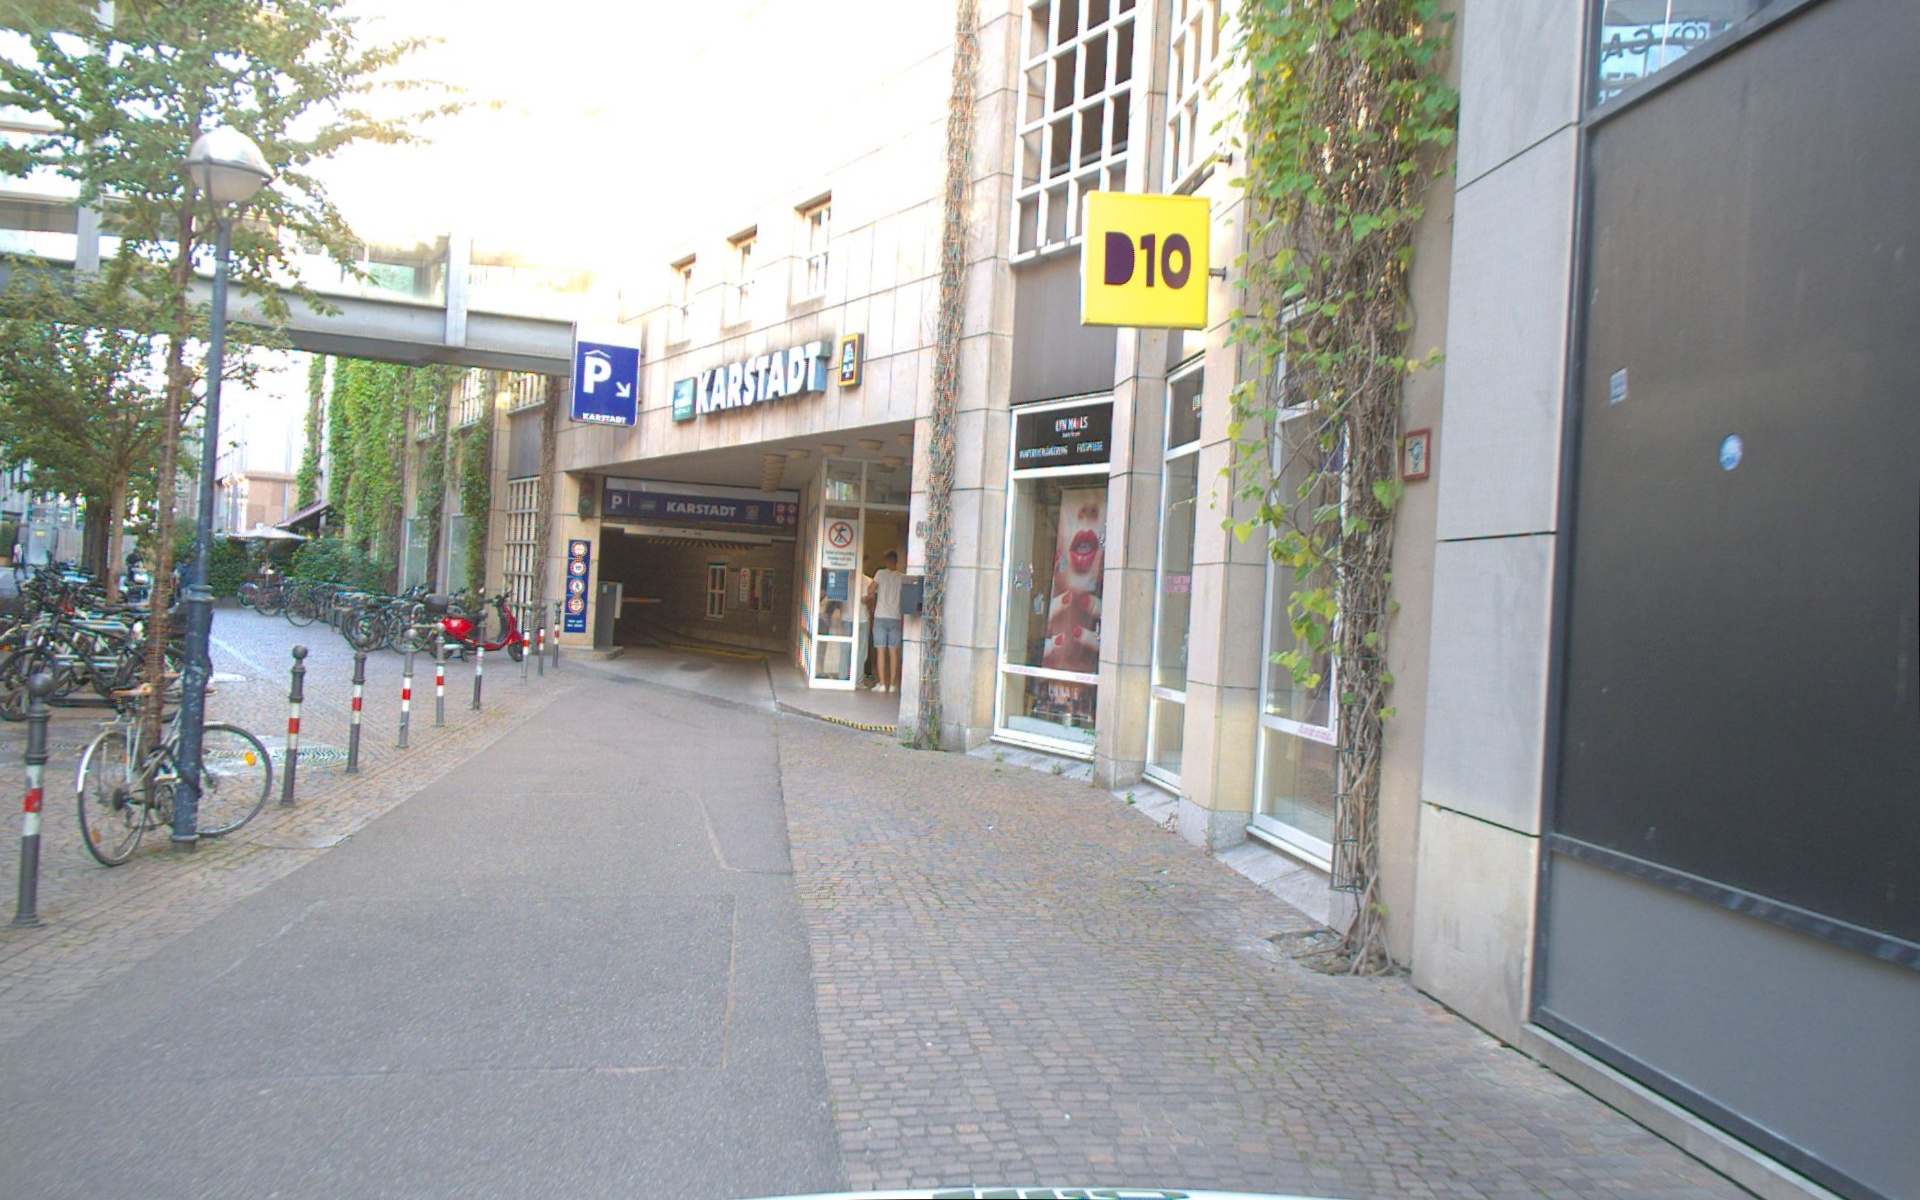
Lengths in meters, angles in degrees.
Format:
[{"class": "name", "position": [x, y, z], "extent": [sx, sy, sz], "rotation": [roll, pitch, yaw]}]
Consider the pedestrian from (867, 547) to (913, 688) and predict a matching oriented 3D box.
[{"class": "pedestrian", "position": [-0.959, 0.239, 22.758], "extent": [0.531, 1.893, 0.408], "rotation": [3, 0, -1]}]

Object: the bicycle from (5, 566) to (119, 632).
[{"class": "bicycle", "position": [-17.829, -0.022, 32.881], "extent": [1.888, 1.203, 0.691], "rotation": [3, 0, -25]}]

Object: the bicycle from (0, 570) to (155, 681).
[{"class": "bicycle", "position": [-10.406, 0.291, 19.123], "extent": [1.888, 1.203, 0.691], "rotation": [3, 0, -25]}]

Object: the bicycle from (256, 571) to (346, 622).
[{"class": "bicycle", "position": [-16.184, -0.094, 40.630], "extent": [1.970, 1.203, 0.688], "rotation": [1, 1, -27]}]

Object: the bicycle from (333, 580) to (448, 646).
[{"class": "bicycle", "position": [-10.840, 0.254, 31.486], "extent": [1.970, 1.203, 0.796], "rotation": [1, 1, -27]}]

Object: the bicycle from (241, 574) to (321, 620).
[{"class": "bicycle", "position": [-18.473, -0.089, 45.008], "extent": [1.970, 1.203, 0.688], "rotation": [1, 1, -27]}]

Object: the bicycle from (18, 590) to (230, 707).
[{"class": "bicycle", "position": [-8.689, 0.510, 17.258], "extent": [1.891, 1.121, 0.690], "rotation": [3, 0, -28]}]

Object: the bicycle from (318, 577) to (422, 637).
[{"class": "bicycle", "position": [-12.352, 0.142, 34.626], "extent": [1.970, 1.203, 0.688], "rotation": [1, 1, -27]}]

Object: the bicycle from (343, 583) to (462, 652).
[{"class": "bicycle", "position": [-10.259, 0.324, 30.425], "extent": [1.970, 1.203, 0.796], "rotation": [1, 1, -27]}]

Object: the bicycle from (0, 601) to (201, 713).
[{"class": "bicycle", "position": [-8.577, 0.563, 16.347], "extent": [1.891, 1.011, 0.690], "rotation": [3, 0, -28]}]

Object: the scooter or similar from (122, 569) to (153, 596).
[{"class": "scooter or similar", "position": [-28.154, -0.608, 56.593], "extent": [0.881, 0.858, 0.903], "rotation": [3, 0, -29]}]

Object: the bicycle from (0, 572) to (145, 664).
[{"class": "bicycle", "position": [-12.570, 0.254, 23.289], "extent": [1.888, 1.203, 0.691], "rotation": [3, 0, -25]}]

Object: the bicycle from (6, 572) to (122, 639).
[{"class": "bicycle", "position": [-17.380, 0.102, 32.129], "extent": [1.888, 1.203, 0.691], "rotation": [3, 0, -25]}]

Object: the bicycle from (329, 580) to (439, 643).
[{"class": "bicycle", "position": [-11.450, 0.229, 32.867], "extent": [1.970, 1.203, 0.796], "rotation": [1, 1, -27]}]

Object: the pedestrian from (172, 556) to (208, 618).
[{"class": "pedestrian", "position": [-19.762, -0.337, 42.446], "extent": [0.740, 1.535, 0.632], "rotation": [3, 0, -29]}]

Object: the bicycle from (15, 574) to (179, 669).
[{"class": "bicycle", "position": [-11.783, 0.299, 22.654], "extent": [1.888, 1.203, 0.691], "rotation": [3, 0, -25]}]

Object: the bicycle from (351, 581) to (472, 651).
[{"class": "bicycle", "position": [-9.816, 0.296, 29.597], "extent": [1.970, 1.203, 0.690], "rotation": [1, 1, -27]}]

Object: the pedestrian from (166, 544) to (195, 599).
[{"class": "pedestrian", "position": [-26.742, -0.988, 56.736], "extent": [0.756, 1.836, 0.769], "rotation": [3, 0, -29]}]

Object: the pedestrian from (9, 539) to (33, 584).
[{"class": "pedestrian", "position": [-38.928, -1.599, 68.599], "extent": [0.767, 1.836, 0.627], "rotation": [3, 0, -33]}]

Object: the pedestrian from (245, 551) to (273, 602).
[{"class": "pedestrian", "position": [-26.043, -0.869, 61.449], "extent": [0.767, 1.836, 0.759], "rotation": [3, 0, -33]}]

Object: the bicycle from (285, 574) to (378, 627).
[{"class": "bicycle", "position": [-14.811, 0.005, 38.991], "extent": [1.970, 1.203, 0.688], "rotation": [1, 1, -27]}]

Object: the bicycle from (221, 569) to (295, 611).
[{"class": "bicycle", "position": [-20.872, -0.295, 49.198], "extent": [1.970, 1.203, 0.688], "rotation": [1, 1, -27]}]

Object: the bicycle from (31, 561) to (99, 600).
[{"class": "bicycle", "position": [-30.129, -0.655, 55.698], "extent": [1.888, 1.203, 0.691], "rotation": [3, 0, -25]}]

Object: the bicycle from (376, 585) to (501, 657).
[{"class": "bicycle", "position": [-9.084, 0.369, 28.834], "extent": [1.970, 1.203, 0.690], "rotation": [1, 1, -27]}]

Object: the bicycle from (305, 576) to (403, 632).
[{"class": "bicycle", "position": [-13.487, 0.087, 36.797], "extent": [1.970, 1.203, 0.688], "rotation": [1, 1, -27]}]

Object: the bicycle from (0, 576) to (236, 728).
[{"class": "bicycle", "position": [-7.673, 0.474, 15.049], "extent": [1.891, 1.283, 0.801], "rotation": [3, 0, -28]}]

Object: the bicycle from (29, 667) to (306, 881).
[{"class": "bicycle", "position": [-4.303, 0.904, 9.121], "extent": [0.494, 0.983, 1.696], "rotation": [3, 0, 7]}]

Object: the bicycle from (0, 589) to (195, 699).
[{"class": "bicycle", "position": [-9.553, 0.489, 18.334], "extent": [1.888, 1.121, 0.691], "rotation": [3, 0, -25]}]

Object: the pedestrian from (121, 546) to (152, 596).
[{"class": "pedestrian", "position": [-28.573, -1.006, 57.387], "extent": [0.881, 1.668, 0.903], "rotation": [3, 0, -29]}]

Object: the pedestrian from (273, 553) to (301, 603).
[{"class": "pedestrian", "position": [-25.062, -0.814, 61.625], "extent": [0.767, 1.836, 0.759], "rotation": [3, 0, -33]}]

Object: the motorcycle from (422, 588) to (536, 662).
[{"class": "motorcycle", "position": [-7.932, 0.415, 27.306], "extent": [1.723, 1.175, 0.590], "rotation": [1, 0, -25]}]

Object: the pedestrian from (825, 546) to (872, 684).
[{"class": "pedestrian", "position": [-1.544, 0.202, 22.942], "extent": [0.531, 1.878, 0.408], "rotation": [3, 0, -1]}]

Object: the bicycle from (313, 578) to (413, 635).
[{"class": "bicycle", "position": [-12.919, 0.144, 35.794], "extent": [1.970, 1.203, 0.688], "rotation": [1, 1, -27]}]

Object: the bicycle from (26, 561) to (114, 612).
[{"class": "bicycle", "position": [-23.084, -0.344, 42.937], "extent": [1.888, 1.203, 0.691], "rotation": [3, 0, -25]}]

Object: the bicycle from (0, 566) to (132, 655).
[{"class": "bicycle", "position": [-13.249, 0.149, 24.245], "extent": [1.888, 1.203, 0.691], "rotation": [3, 0, -25]}]

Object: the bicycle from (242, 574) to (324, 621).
[{"class": "bicycle", "position": [-18.104, -0.055, 44.243], "extent": [1.970, 1.203, 0.688], "rotation": [1, 1, -27]}]

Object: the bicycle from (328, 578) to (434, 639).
[{"class": "bicycle", "position": [-11.826, 0.170, 33.810], "extent": [1.970, 1.203, 0.688], "rotation": [1, 1, -27]}]
